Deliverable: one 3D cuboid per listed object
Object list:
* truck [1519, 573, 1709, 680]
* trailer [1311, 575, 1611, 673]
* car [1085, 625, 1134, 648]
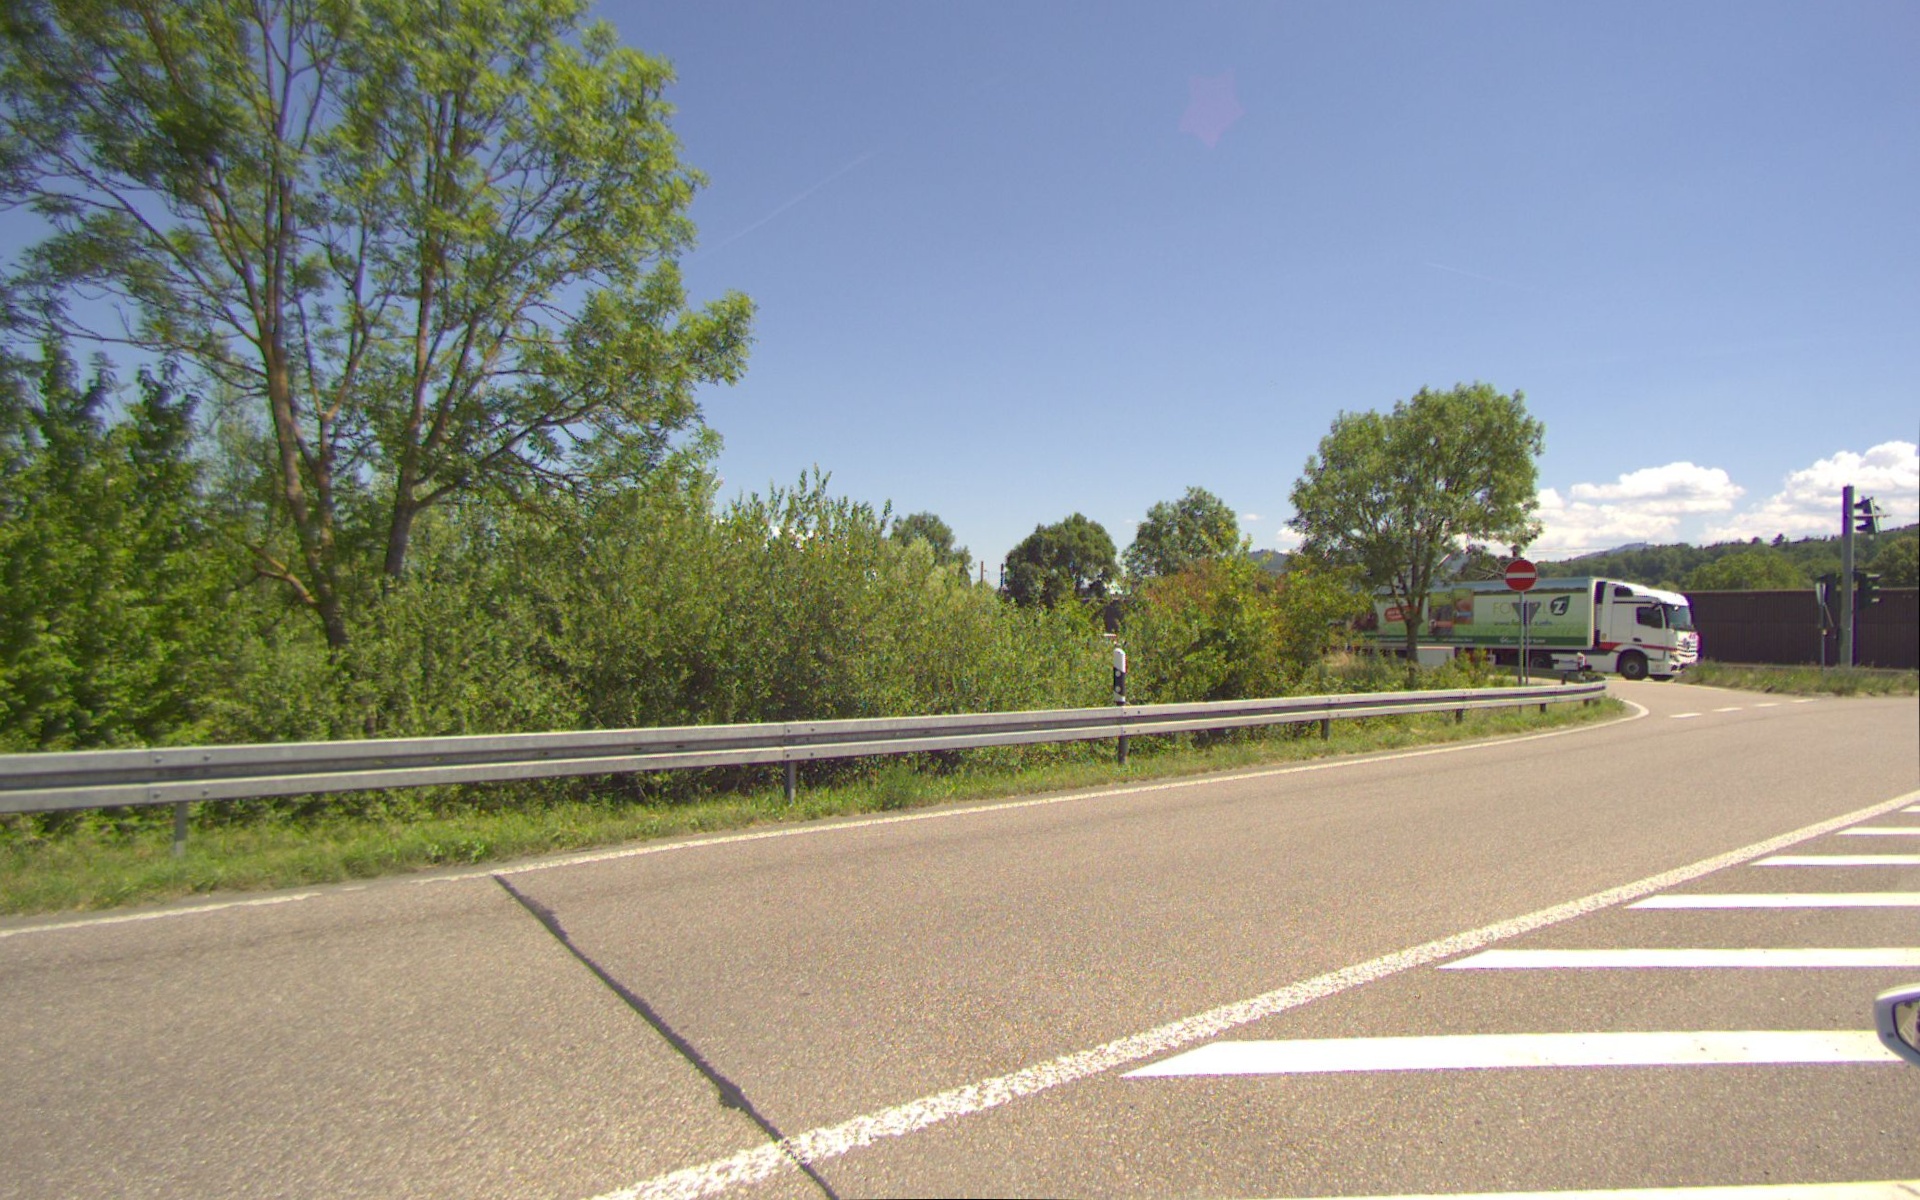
[{"bbox_3d":[26.519,1.038,40.975,3.027,4.007,5.736,2,-1,-31],"label":"truck"},{"bbox_3d":[22.823,1.042,47.208,3.027,4.007,13.074,2,-1,-31],"label":"trailer"},{"bbox_3d":[10.360,2.513,69.692,1.537,1.484,3.455,2,-1,-31],"label":"car"}]
